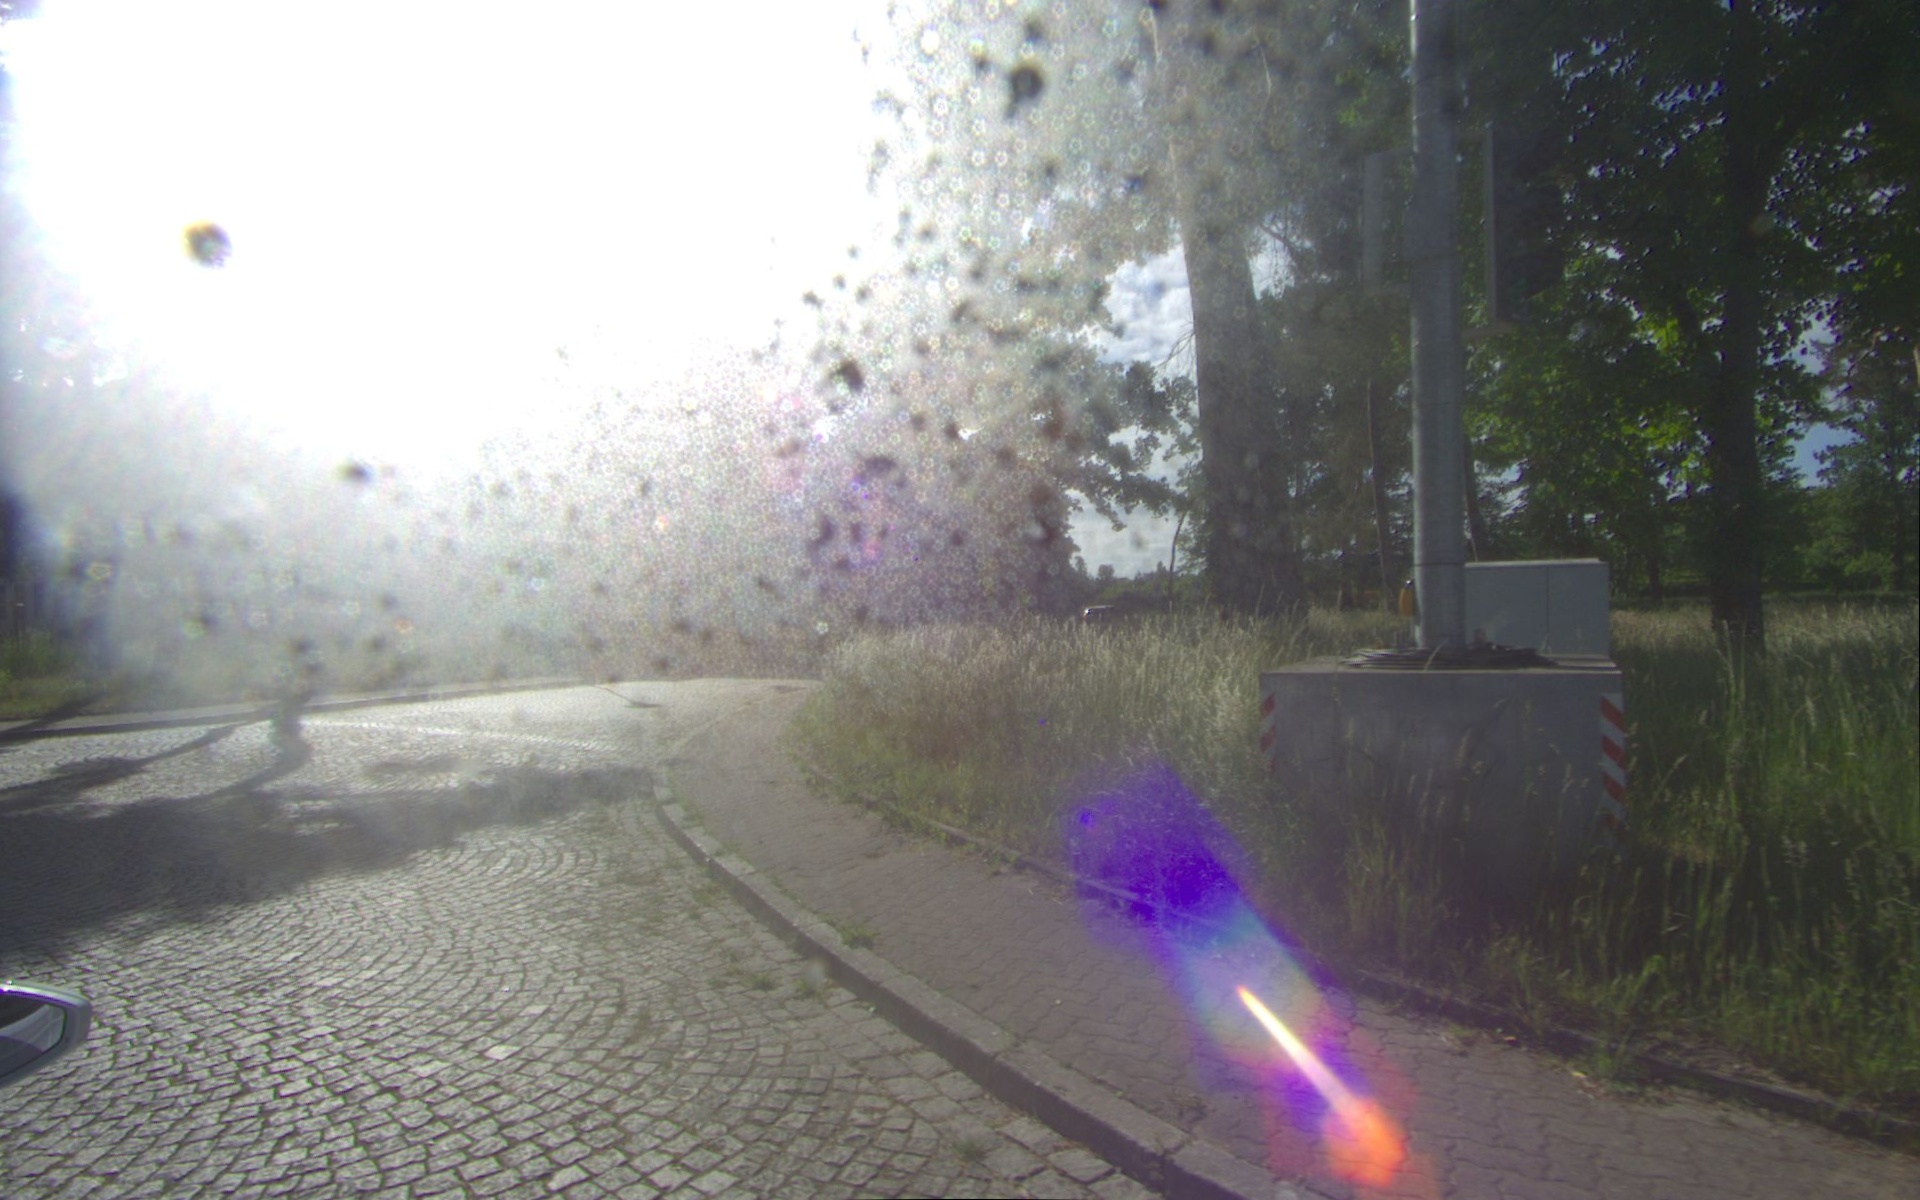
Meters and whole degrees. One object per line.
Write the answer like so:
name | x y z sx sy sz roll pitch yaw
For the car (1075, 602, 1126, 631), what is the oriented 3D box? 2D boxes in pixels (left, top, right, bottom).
car | 8.268 0.971 58.600 1.826 1.620 3.986 -1 0 25

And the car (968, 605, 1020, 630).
car | 2.181 1.076 62.810 1.817 1.483 3.986 -1 0 25
